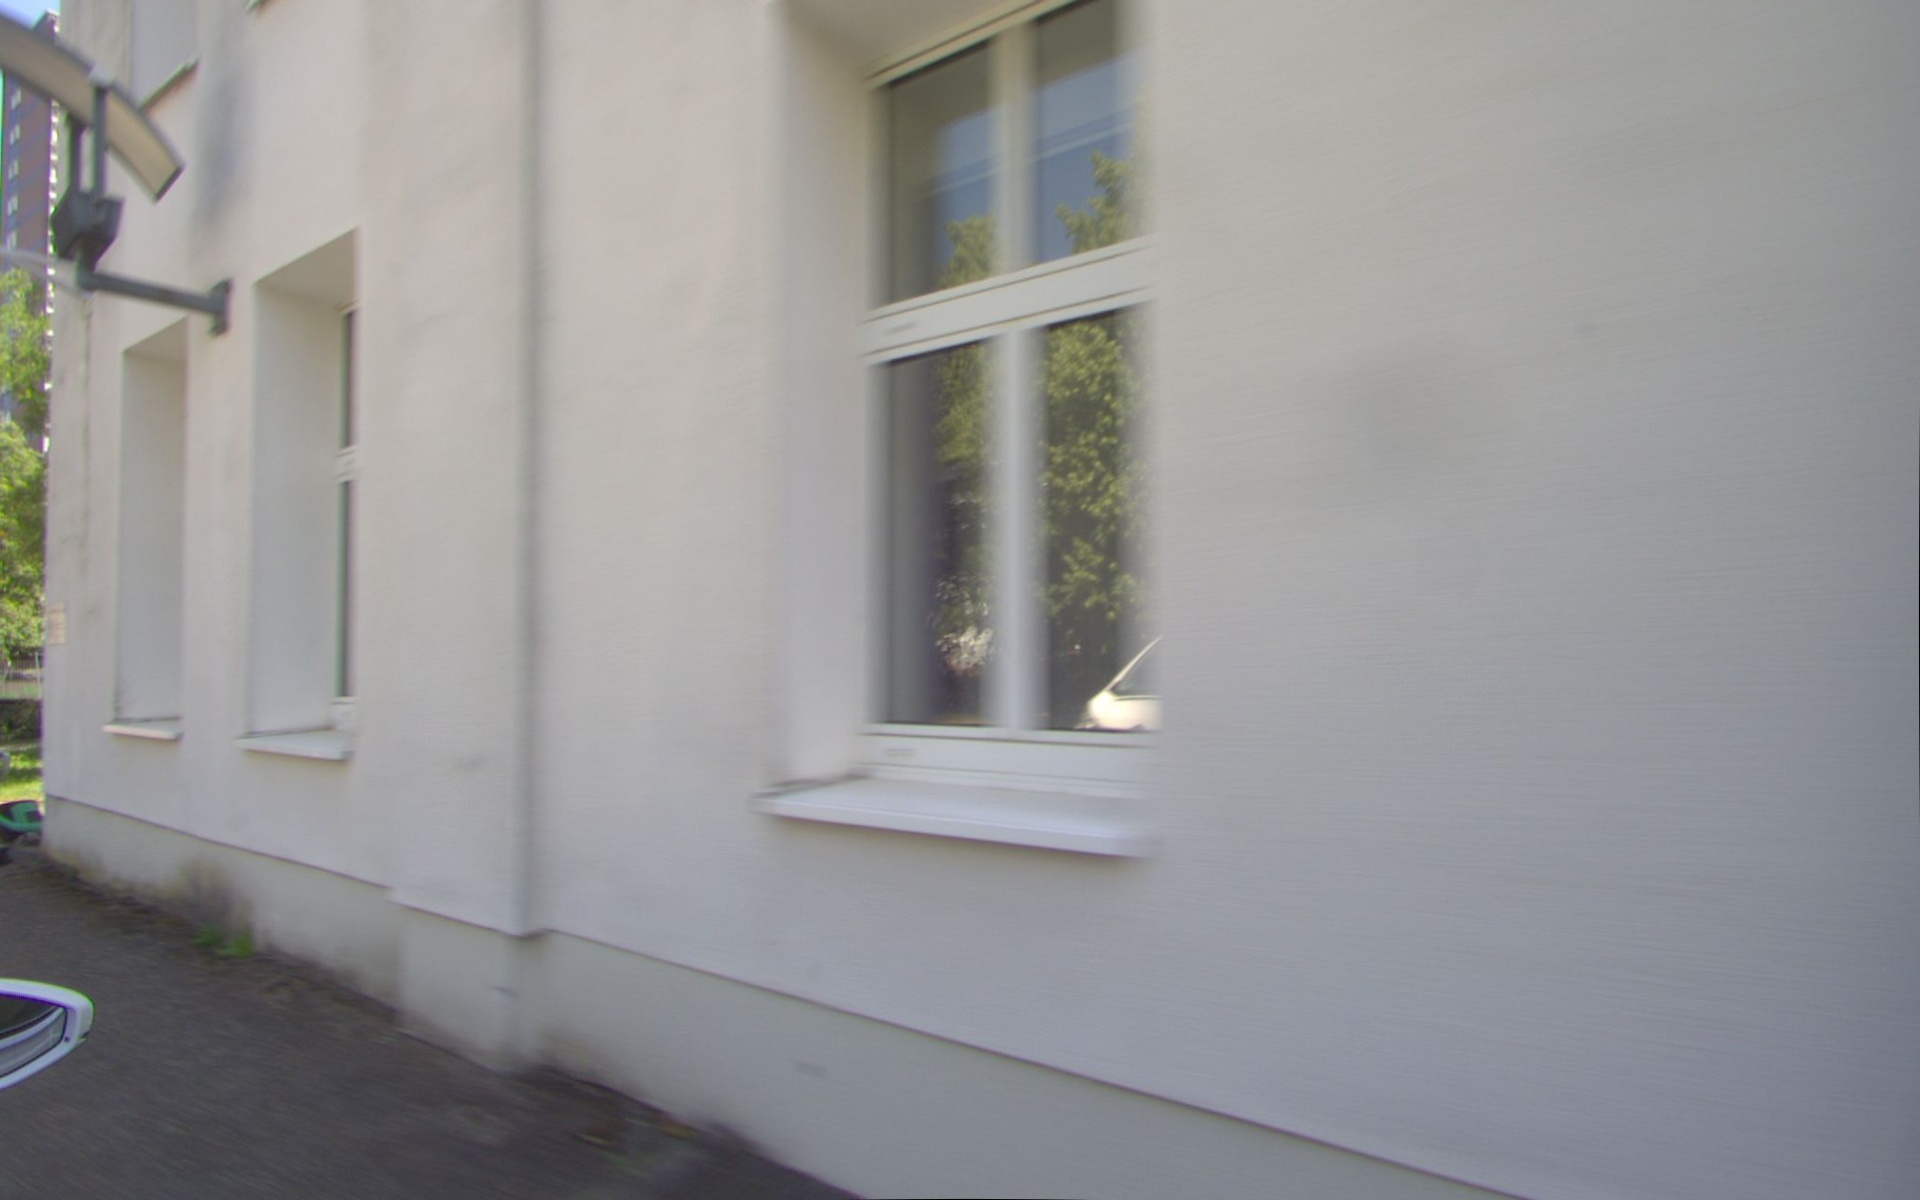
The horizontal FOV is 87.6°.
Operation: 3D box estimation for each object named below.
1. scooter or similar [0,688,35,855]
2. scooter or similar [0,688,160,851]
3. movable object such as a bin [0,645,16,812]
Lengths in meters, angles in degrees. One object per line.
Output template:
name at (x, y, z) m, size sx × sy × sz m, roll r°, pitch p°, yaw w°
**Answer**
scooter or similar at (-7.491, 1.252, 7.427) m, size 1.336 × 1.188 × 0.464 m, roll -2°, pitch -3°, yaw 27°
scooter or similar at (-6.939, 1.286, 7.810) m, size 1.234 × 1.188 × 0.465 m, roll -1°, pitch -3°, yaw 18°
movable object such as a bin at (-9.677, 1.179, 9.077) m, size 1.439 × 1.523 × 1.156 m, roll -3°, pitch -4°, yaw 26°
